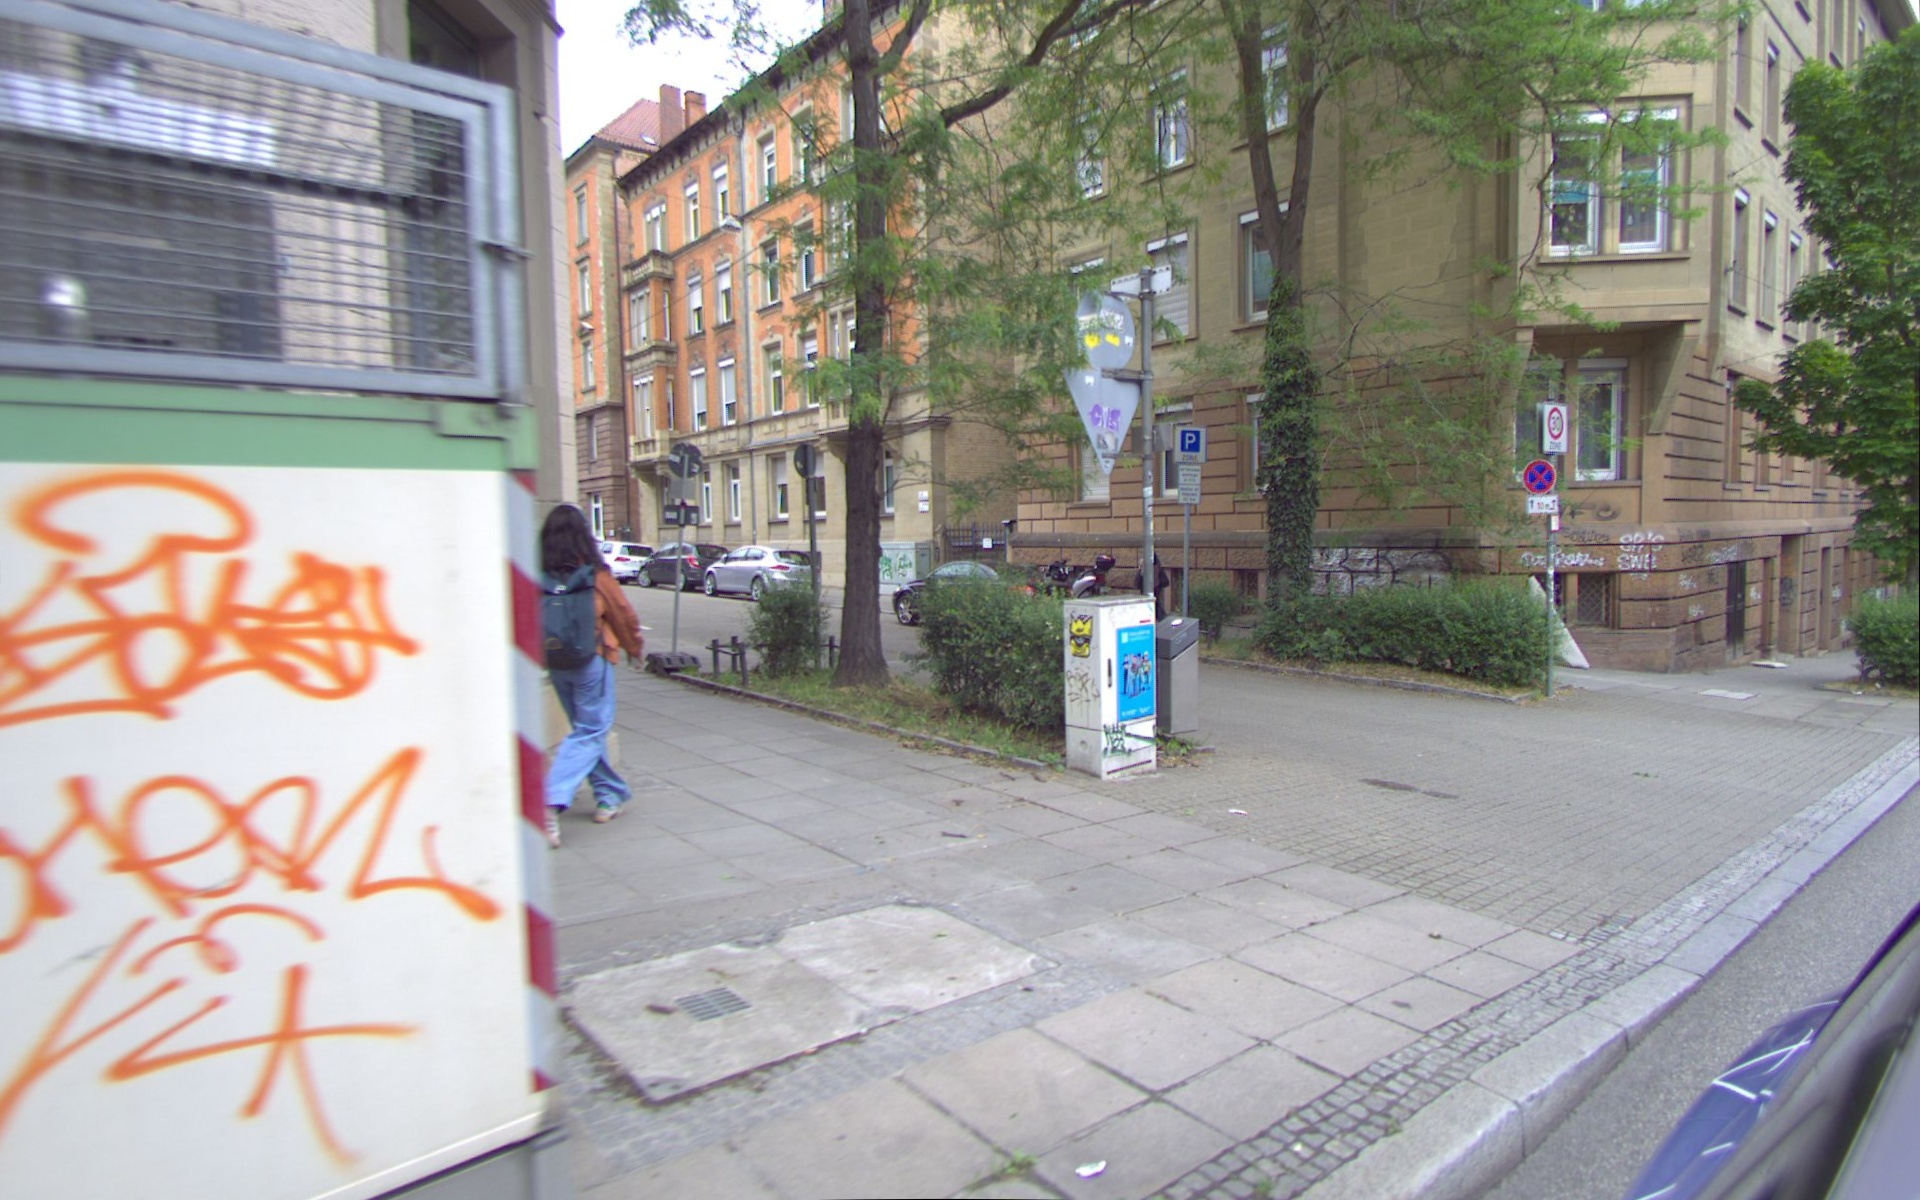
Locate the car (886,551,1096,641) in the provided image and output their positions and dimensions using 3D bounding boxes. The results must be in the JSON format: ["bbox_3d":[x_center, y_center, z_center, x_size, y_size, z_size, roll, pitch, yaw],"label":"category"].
[{"bbox_3d":[0.506,-0.145,19.829,1.780,1.395,4.096,0,5,-41],"label":"car"}]

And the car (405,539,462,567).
[{"bbox_3d":[-28.056,-2.487,53.865,1.780,1.396,4.039,0,2,-41],"label":"car"}]

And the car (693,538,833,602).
[{"bbox_3d":[-5.256,-0.825,26.632,1.780,1.395,4.096,0,5,-41],"label":"car"}]

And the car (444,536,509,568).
[{"bbox_3d":[-22.894,-2.233,47.845,1.780,1.396,4.039,0,1,-41],"label":"car"}]

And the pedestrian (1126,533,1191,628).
[{"bbox_3d":[3.771,-0.398,19.275,0.835,1.705,0.861,-5,7,-40],"label":"pedestrian"}]

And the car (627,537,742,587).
[{"bbox_3d":[-8.425,-1.180,30.736,1.780,1.396,4.040,0,3,-41],"label":"car"}]

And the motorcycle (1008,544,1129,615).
[{"bbox_3d":[2.360,-0.506,22.436,0.824,1.452,2.925,-4,5,-40],"label":"motorcycle"}]

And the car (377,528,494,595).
[{"bbox_3d":[-13.730,-1.038,26.380,1.780,1.490,4.097,0,5,-41],"label":"car"}]

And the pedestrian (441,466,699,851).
[{"bbox_3d":[-1.893,0.242,5.073,0.700,1.683,1.124,2,1,9],"label":"pedestrian"}]

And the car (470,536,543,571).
[{"bbox_3d":[-19.812,-2.007,44.140,1.780,1.396,4.039,0,1,-41],"label":"car"}]

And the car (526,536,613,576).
[{"bbox_3d":[-14.752,-1.679,38.120,1.780,1.396,4.040,0,3,-41],"label":"car"}]

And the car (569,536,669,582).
[{"bbox_3d":[-11.533,-1.407,34.105,1.780,1.396,4.040,0,3,-41],"label":"car"}]
